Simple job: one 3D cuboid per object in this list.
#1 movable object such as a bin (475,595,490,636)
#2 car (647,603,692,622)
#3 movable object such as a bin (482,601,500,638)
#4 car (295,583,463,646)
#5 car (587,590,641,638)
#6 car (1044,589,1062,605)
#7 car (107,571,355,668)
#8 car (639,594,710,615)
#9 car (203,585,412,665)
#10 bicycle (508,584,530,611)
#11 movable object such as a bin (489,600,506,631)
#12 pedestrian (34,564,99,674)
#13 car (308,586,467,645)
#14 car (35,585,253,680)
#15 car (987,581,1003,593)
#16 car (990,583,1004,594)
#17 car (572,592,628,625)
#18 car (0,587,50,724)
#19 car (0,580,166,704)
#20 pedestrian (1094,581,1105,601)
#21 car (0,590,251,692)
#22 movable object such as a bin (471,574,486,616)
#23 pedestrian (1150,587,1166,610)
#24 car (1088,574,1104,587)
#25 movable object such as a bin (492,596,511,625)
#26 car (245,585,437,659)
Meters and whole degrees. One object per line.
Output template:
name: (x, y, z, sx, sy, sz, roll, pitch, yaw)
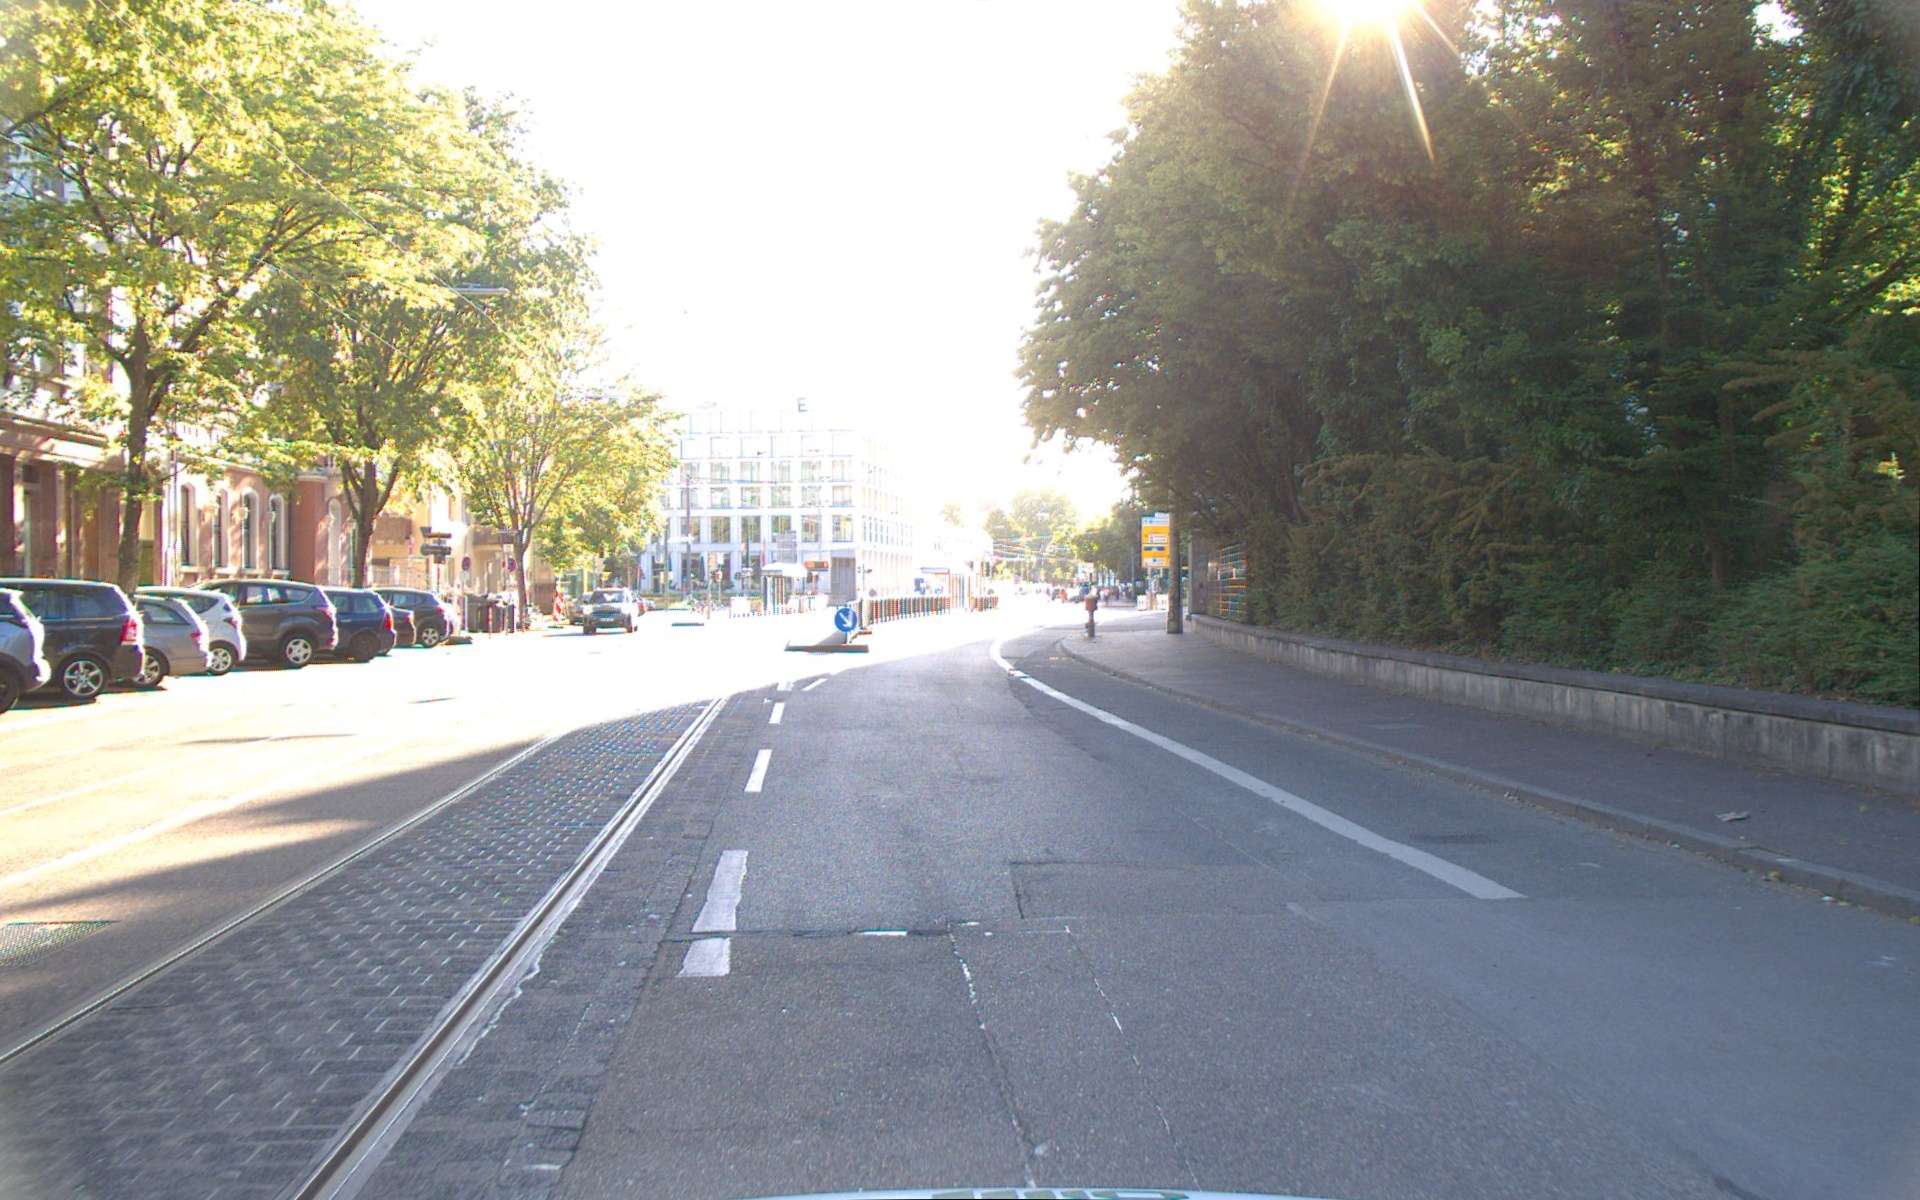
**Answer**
movable object such as a bin: (-16.994, 0.536, 58.871, 0.371, 1.452, 0.388, -1, 0, 7)
car: (-24.517, 1.057, 139.542, 3.455, 1.532, 1.524, 0, 0, 6)
movable object such as a bin: (-16.521, 0.688, 58.300, 0.371, 1.263, 0.640, -1, 0, 7)
car: (-15.408, 0.404, 43.961, 3.879, 1.534, 1.668, 2, 0, -37)
car: (-12.559, 0.489, 60.115, 1.838, 1.629, 4.415, -1, 1, -11)
car: (10.628, -0.296, 188.725, 1.648, 1.768, 3.511, 1, 0, 8)
car: (-14.512, 0.415, 33.019, 4.239, 1.753, 1.685, 3, -2, -37)
car: (-18.943, 0.324, 109.778, 4.443, 1.374, 1.578, 1, -1, -25)
car: (-14.287, 0.555, 36.303, 3.949, 1.645, 1.611, 2, 0, -41)
bicycle: (-24.030, -0.152, 90.103, 0.703, 1.422, 3.006, -1, 0, -6)
movable object such as a bin: (-16.477, 0.555, 58.950, 0.371, 1.087, 0.640, -1, 0, 7)
pedestrian: (-14.846, 0.312, 27.494, 0.751, 1.786, 0.805, -1, 0, -16)
car: (-16.192, 0.440, 46.886, 3.883, 1.548, 1.709, 2, 0, -42)
car: (-14.637, 0.598, 29.702, 3.244, 1.559, 1.686, 3, -1, -37)
car: (5.205, -1.946, 245.793, 1.780, 1.742, 3.809, -1, 0, 8)
car: (5.738, -1.798, 256.661, 1.780, 1.742, 3.809, -1, 0, 8)
car: (-16.621, 0.369, 76.535, 1.671, 1.435, 4.291, 1, 0, -1)
car: (-13.399, 0.666, 20.250, 3.824, 1.683, 1.752, 1, -1, -34)
car: (-13.385, 0.566, 23.222, 3.823, 1.683, 1.752, 1, -1, -34)
pedestrian: (13.272, -0.847, 157.285, 0.832, 1.815, 0.779, -1, 0, -8)
car: (-13.437, 0.641, 26.213, 3.776, 1.511, 1.750, 2, -1, -34)
movable object such as a bin: (-17.032, -0.180, 58.455, 0.371, 1.452, 0.386, -1, 0, 7)
pedestrian: (15.573, -0.142, 129.979, 1.019, 1.751, 1.034, -1, 0, -3)
car: (16.363, -2.364, 198.907, 1.648, 1.527, 3.511, 1, 0, 8)
movable object such as a bin: (-18.448, 0.432, 66.598, 0.416, 1.146, 1.147, -1, 0, 1)
car: (-14.576, 0.521, 39.052, 3.949, 1.645, 1.611, 2, 0, -41)
